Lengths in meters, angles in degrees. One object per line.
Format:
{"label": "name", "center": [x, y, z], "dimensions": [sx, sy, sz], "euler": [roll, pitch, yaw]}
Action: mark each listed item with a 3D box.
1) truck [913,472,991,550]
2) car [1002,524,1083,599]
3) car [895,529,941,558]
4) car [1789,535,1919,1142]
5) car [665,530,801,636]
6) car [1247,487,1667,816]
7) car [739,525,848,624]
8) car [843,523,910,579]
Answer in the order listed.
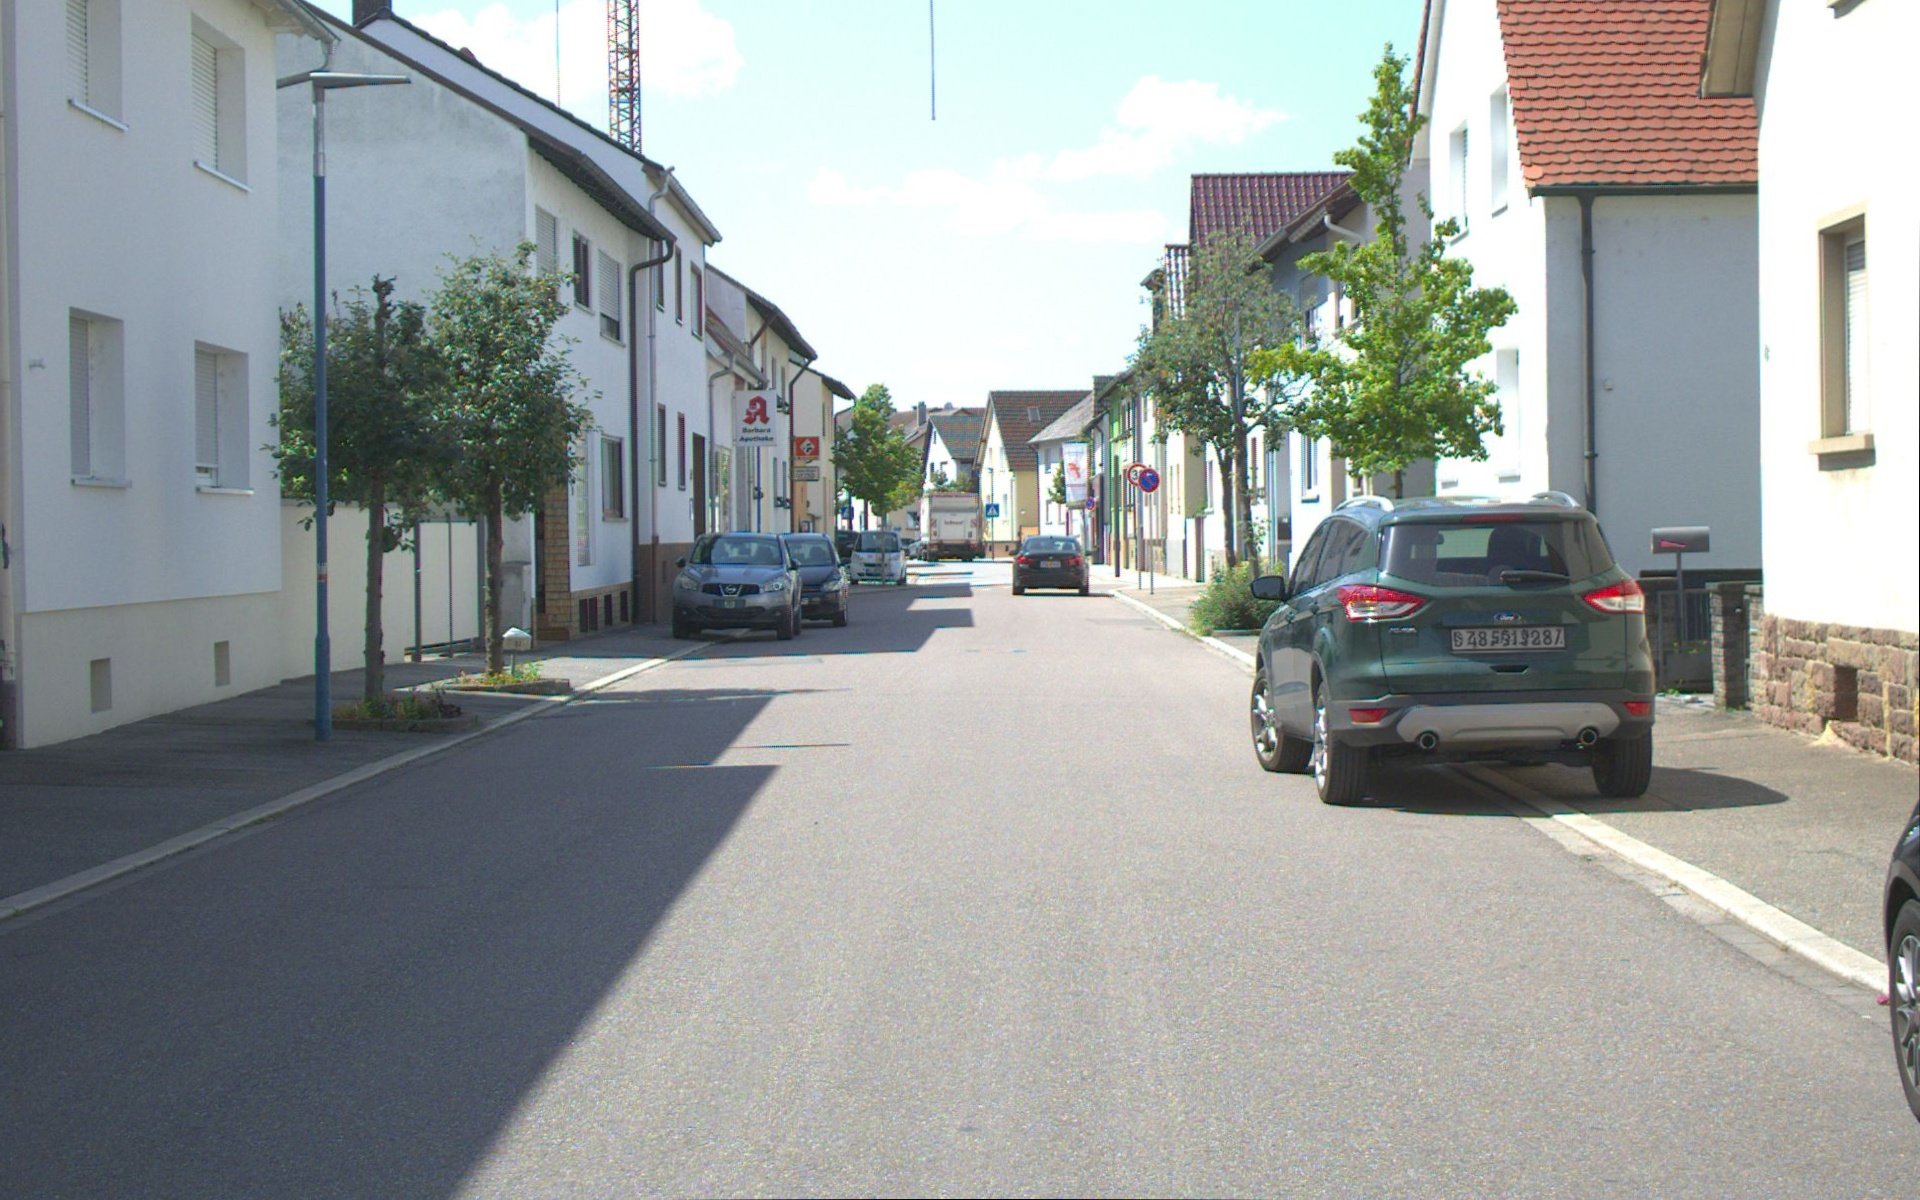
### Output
{"label": "truck", "center": [-0.508, -4.629, 181.975], "dimensions": [3.378, 3.852, 13.928], "euler": [-2, 1, -3]}
{"label": "car", "center": [1.992, -0.944, 83.961], "dimensions": [1.783, 1.747, 4.000], "euler": [-2, 1, 0]}
{"label": "car", "center": [-2.622, -3.506, 214.653], "dimensions": [1.820, 1.747, 4.230], "euler": [-2, 1, -15]}
{"label": "car", "center": [3.153, 0.582, 7.613], "dimensions": [1.617, 1.490, 3.972], "euler": [-3, 1, 0]}
{"label": "car", "center": [-3.420, -0.290, 52.407], "dimensions": [1.758, 1.519, 4.289], "euler": [-1, 1, 0]}
{"label": "car", "center": [2.793, 0.228, 20.219], "dimensions": [1.728, 1.711, 4.276], "euler": [-1, 1, -2]}
{"label": "car", "center": [-2.818, -0.469, 58.845], "dimensions": [1.653, 1.603, 4.061], "euler": [-1, 1, 0]}
{"label": "car", "center": [-2.360, -1.414, 98.317], "dimensions": [1.723, 1.550, 4.172], "euler": [1, 1, 1]}
